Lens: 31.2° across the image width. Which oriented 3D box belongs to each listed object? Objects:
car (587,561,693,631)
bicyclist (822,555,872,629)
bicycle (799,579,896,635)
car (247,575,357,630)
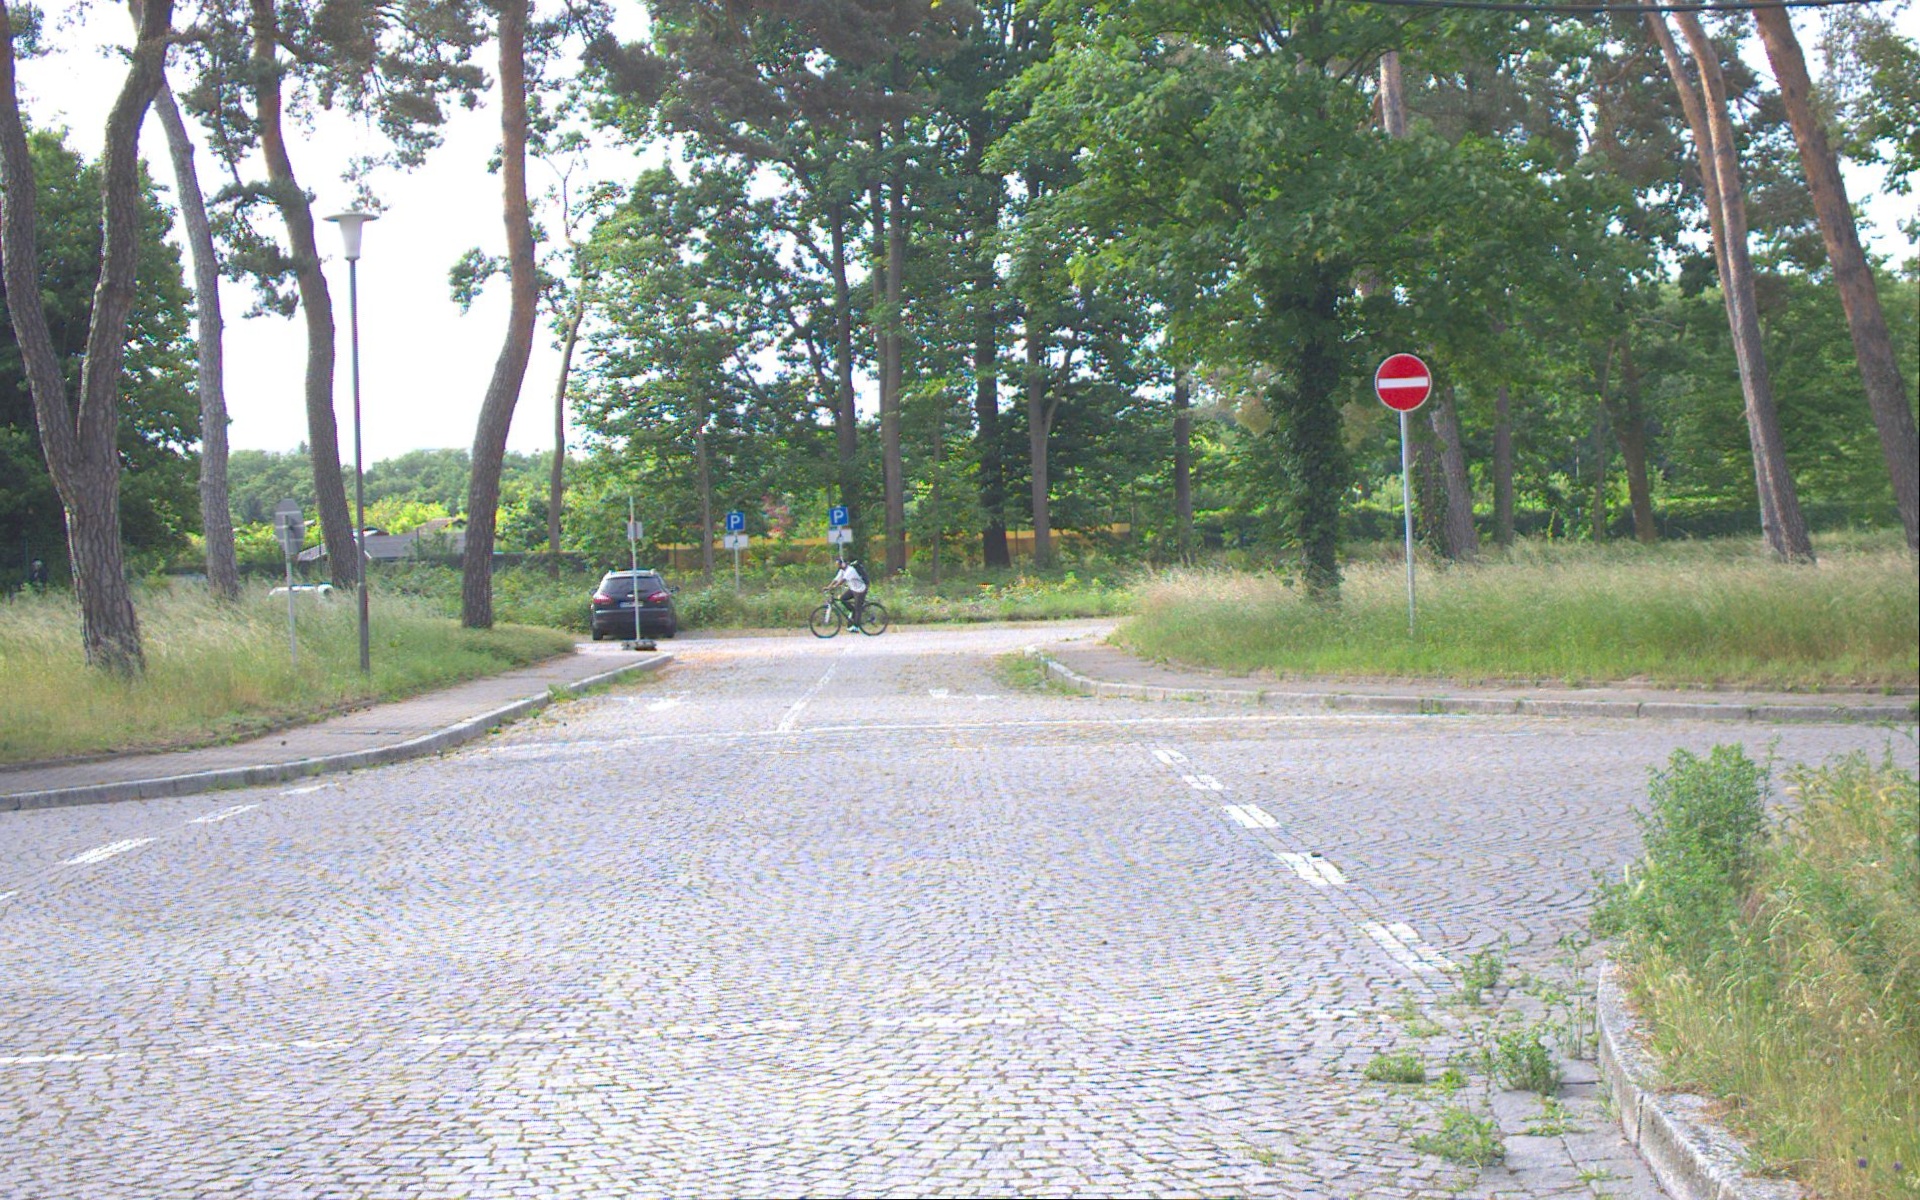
[{"bbox_3d":[-7.181,-0.106,77.574,1.993,1.503,4.000,0,1,0],"label":"car"},{"bbox_3d":[-2.395,-0.177,72.531,0.974,1.505,0.807,-2,1,-4],"label":"bicyclist"},{"bbox_3d":[-2.377,0.145,72.539,1.986,1.091,0.810,-2,1,-4],"label":"bicycle"},{"bbox_3d":[-14.986,0.039,78.443,1.689,1.152,4.000,-2,1,0],"label":"car"}]
